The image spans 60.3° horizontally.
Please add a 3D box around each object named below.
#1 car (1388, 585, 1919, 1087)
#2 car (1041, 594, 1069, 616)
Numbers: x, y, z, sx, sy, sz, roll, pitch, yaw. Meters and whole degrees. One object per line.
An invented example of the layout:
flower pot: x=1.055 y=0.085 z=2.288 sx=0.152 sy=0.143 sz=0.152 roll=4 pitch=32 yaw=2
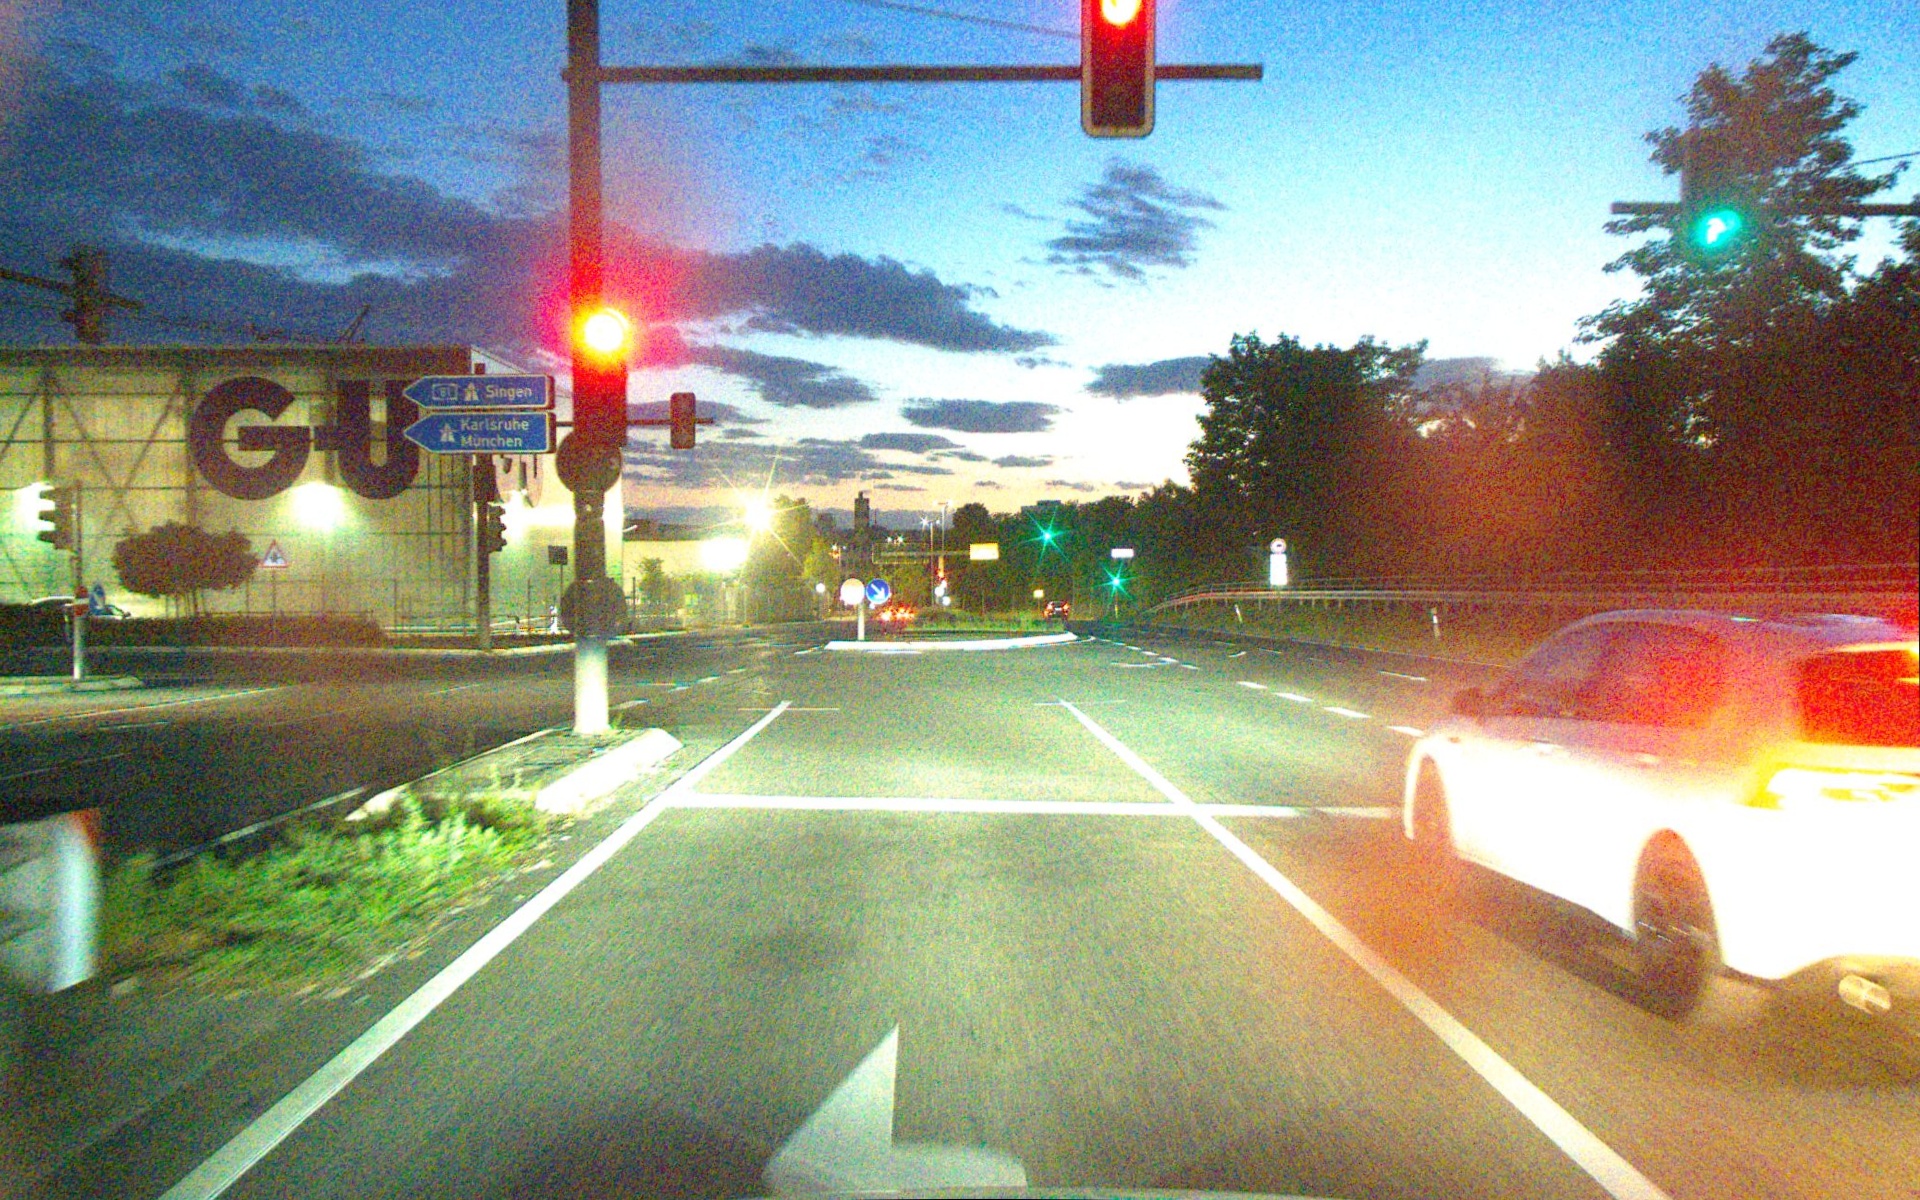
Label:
car: x=3.320 y=0.697 z=7.098 sx=1.723 sy=1.485 sz=4.191 roll=1 pitch=1 yaw=-2
car: x=7.616 y=0.412 z=132.845 sx=1.896 sy=1.675 sz=3.999 roll=-1 pitch=1 yaw=-2
